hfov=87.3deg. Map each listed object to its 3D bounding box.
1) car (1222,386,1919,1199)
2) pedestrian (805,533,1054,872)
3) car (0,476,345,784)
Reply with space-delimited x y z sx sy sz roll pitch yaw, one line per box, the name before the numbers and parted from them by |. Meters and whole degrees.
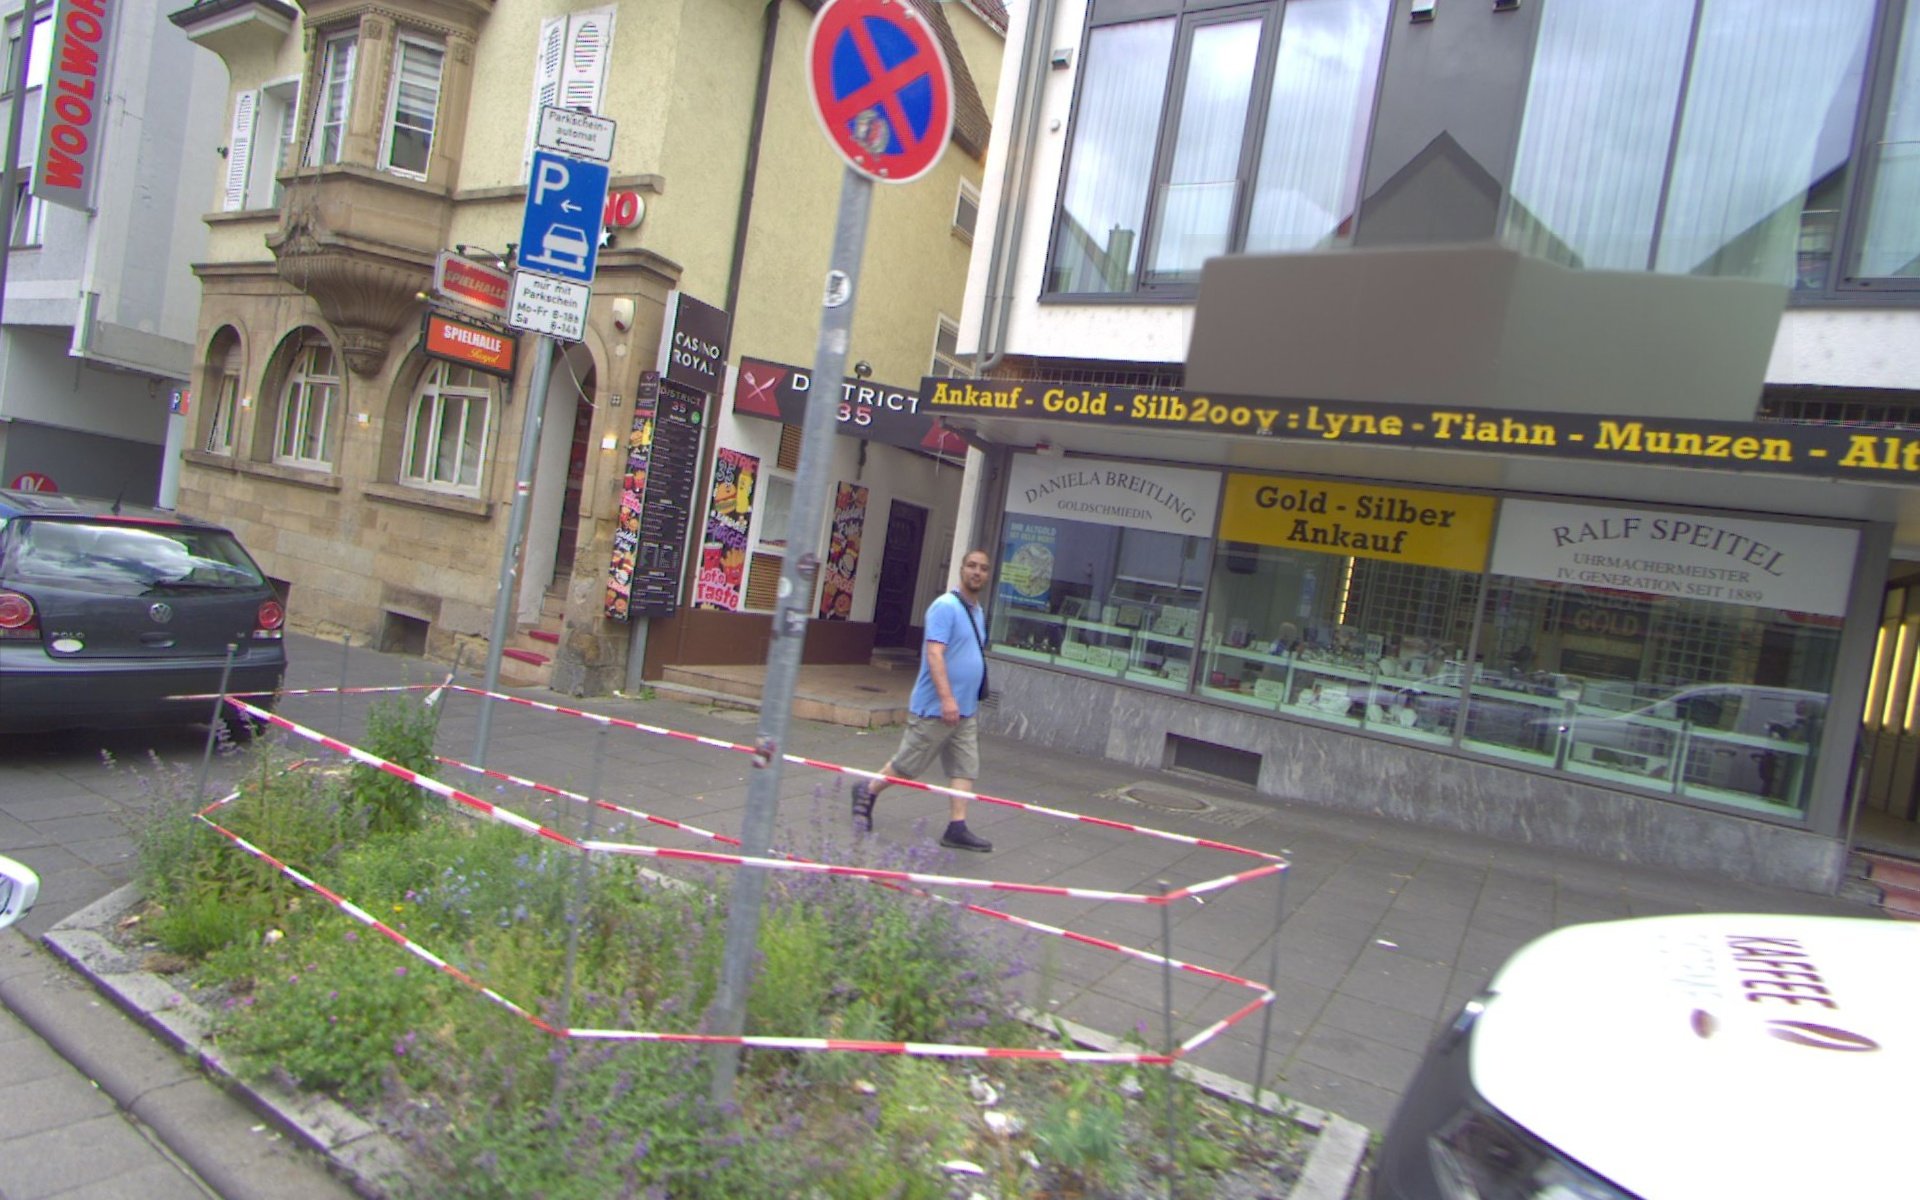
car | 2.791 0.941 0.817 4.656 1.821 1.878 7 0 34
pedestrian | -0.176 0.554 5.948 1.035 1.749 0.797 7 1 31
car | -6.041 0.001 6.541 3.808 1.528 1.750 7 1 29
